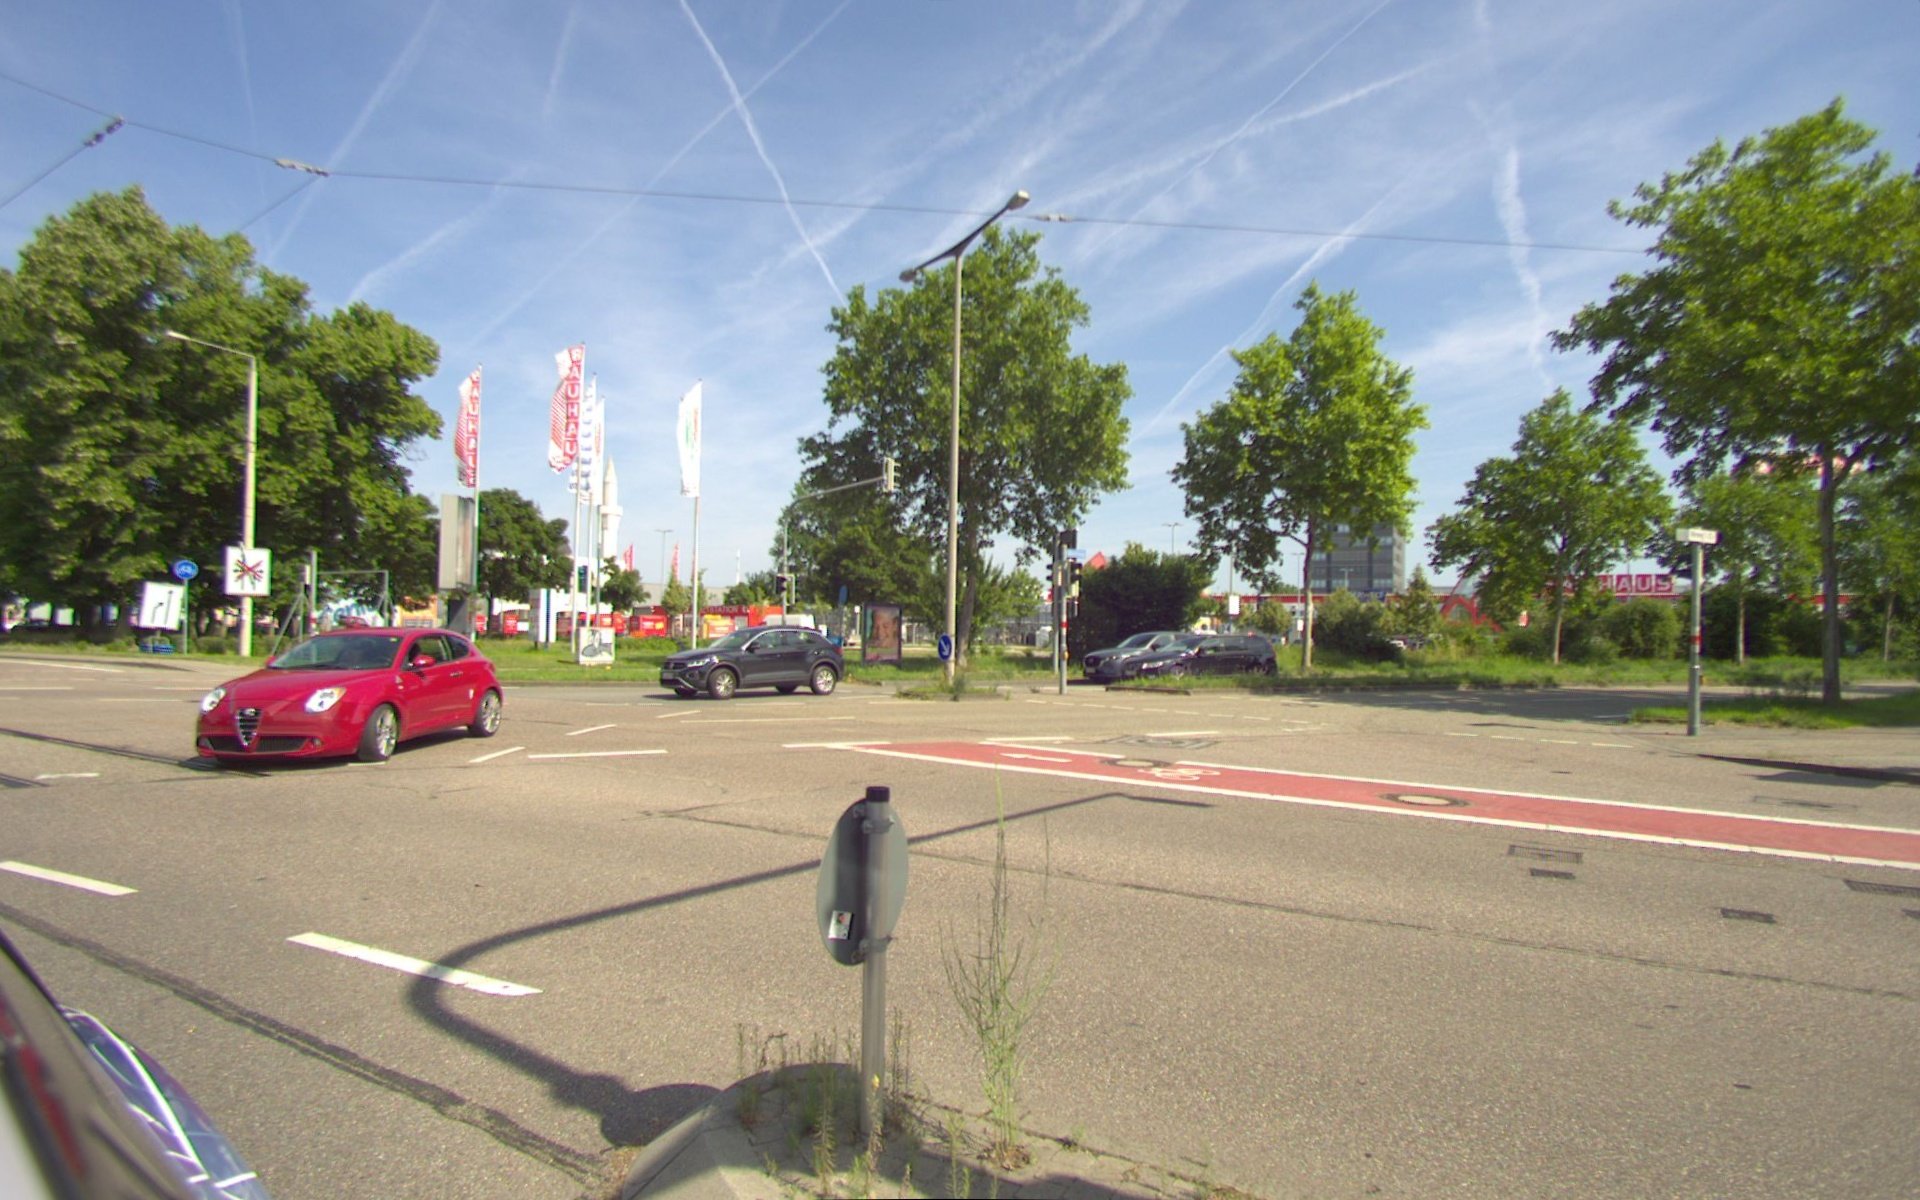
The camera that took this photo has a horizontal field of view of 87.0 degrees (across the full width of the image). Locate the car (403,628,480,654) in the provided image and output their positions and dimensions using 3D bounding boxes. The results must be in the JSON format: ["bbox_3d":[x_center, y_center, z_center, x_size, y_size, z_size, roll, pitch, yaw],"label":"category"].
[{"bbox_3d":[-32.921,2.581,64.367,1.727,1.599,4.000,-1,-3,37],"label":"car"}]

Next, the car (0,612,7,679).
[{"bbox_3d":[-24.875,1.073,23.375,1.885,1.702,4.636,1,-2,-10],"label":"car"}]

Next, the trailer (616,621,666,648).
[{"bbox_3d":[-30.071,3.257,95.502,1.746,2.394,4.362,0,-3,33],"label":"trailer"}]

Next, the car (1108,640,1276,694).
[{"bbox_3d":[6.571,1.871,28.617,4.498,1.439,1.723,1,-4,-26],"label":"car"}]

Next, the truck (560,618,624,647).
[{"bbox_3d":[-35.472,3.167,97.680,2.009,2.629,5.975,-1,-3,27],"label":"truck"}]

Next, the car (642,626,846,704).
[{"bbox_3d":[-4.714,1.405,22.368,4.016,1.557,1.878,2,-4,-40],"label":"car"}]

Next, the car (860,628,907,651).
[{"bbox_3d":[-6.722,3.486,89.267,1.866,1.830,4.786,1,-3,27],"label":"car"}]

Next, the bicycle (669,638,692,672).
[{"bbox_3d":[-9.822,1.921,35.607,0.496,1.116,1.794,1,-1,-6],"label":"bicycle"}]

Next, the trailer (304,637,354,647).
[{"bbox_3d":[-54.015,3.556,86.627,4.400,0.788,2.075,-1,-2,34],"label":"trailer"}]

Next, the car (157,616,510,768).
[{"bbox_3d":[-6.905,1.012,11.710,1.636,1.449,3.907,0,-4,0],"label":"car"}]

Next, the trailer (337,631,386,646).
[{"bbox_3d":[-52.998,3.409,89.615,4.388,1.297,1.577,-1,-2,26],"label":"trailer"}]

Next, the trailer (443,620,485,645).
[{"bbox_3d":[-48.984,3.186,99.909,4.397,2.394,1.573,0,-3,32],"label":"trailer"}]

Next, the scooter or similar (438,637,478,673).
[{"bbox_3d":[-16.050,1.767,32.379,1.104,1.135,0.427,2,-2,-26],"label":"scooter or similar"}]

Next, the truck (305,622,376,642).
[{"bbox_3d":[-63.911,3.347,104.531,2.179,1.845,5.943,-3,-4,30],"label":"truck"}]

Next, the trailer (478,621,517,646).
[{"bbox_3d":[-46.761,3.349,102.236,4.402,2.376,1.532,0,-3,35],"label":"trailer"}]

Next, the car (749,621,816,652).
[{"bbox_3d":[-15.220,3.109,86.838,5.661,2.561,2.000,-1,-1,28],"label":"car"}]

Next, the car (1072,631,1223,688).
[{"bbox_3d":[5.878,1.864,31.709,4.418,1.672,1.777,1,-4,-26],"label":"car"}]
